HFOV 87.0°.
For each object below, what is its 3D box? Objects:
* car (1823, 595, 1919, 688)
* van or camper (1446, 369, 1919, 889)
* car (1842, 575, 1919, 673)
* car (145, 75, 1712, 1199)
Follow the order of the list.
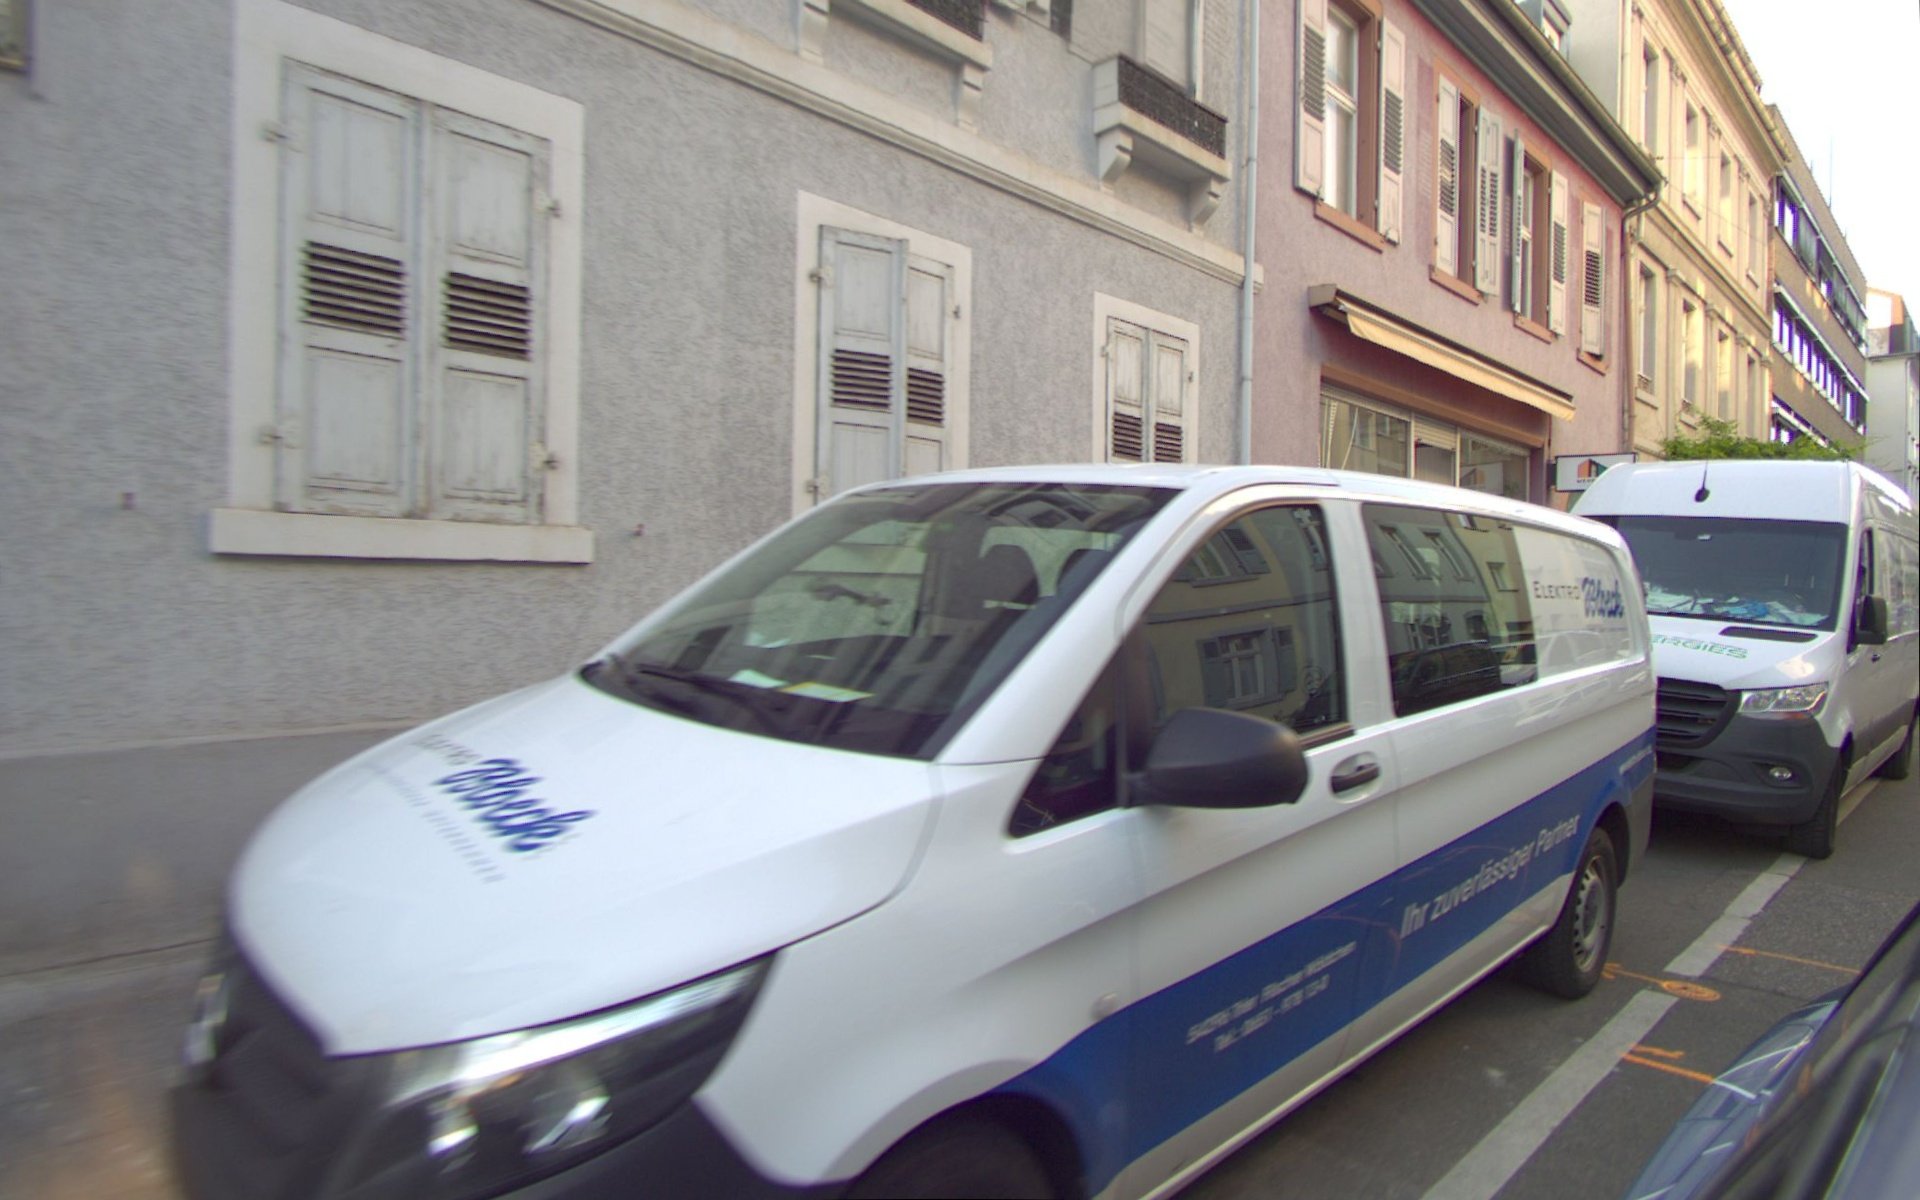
[{"bbox_3d":[16.993,0.698,18.412,3.692,1.524,1.656,0,1,-45],"label":"car"},{"bbox_3d":[6.517,0.129,8.288,6.940,2.670,2.053,0,1,-42],"label":"van or camper"},{"bbox_3d":[20.851,0.480,21.662,5.178,1.921,1.942,0,1,-37],"label":"car"},{"bbox_3d":[0.681,0.422,3.402,5.227,1.917,1.945,0,4,-43],"label":"car"}]
